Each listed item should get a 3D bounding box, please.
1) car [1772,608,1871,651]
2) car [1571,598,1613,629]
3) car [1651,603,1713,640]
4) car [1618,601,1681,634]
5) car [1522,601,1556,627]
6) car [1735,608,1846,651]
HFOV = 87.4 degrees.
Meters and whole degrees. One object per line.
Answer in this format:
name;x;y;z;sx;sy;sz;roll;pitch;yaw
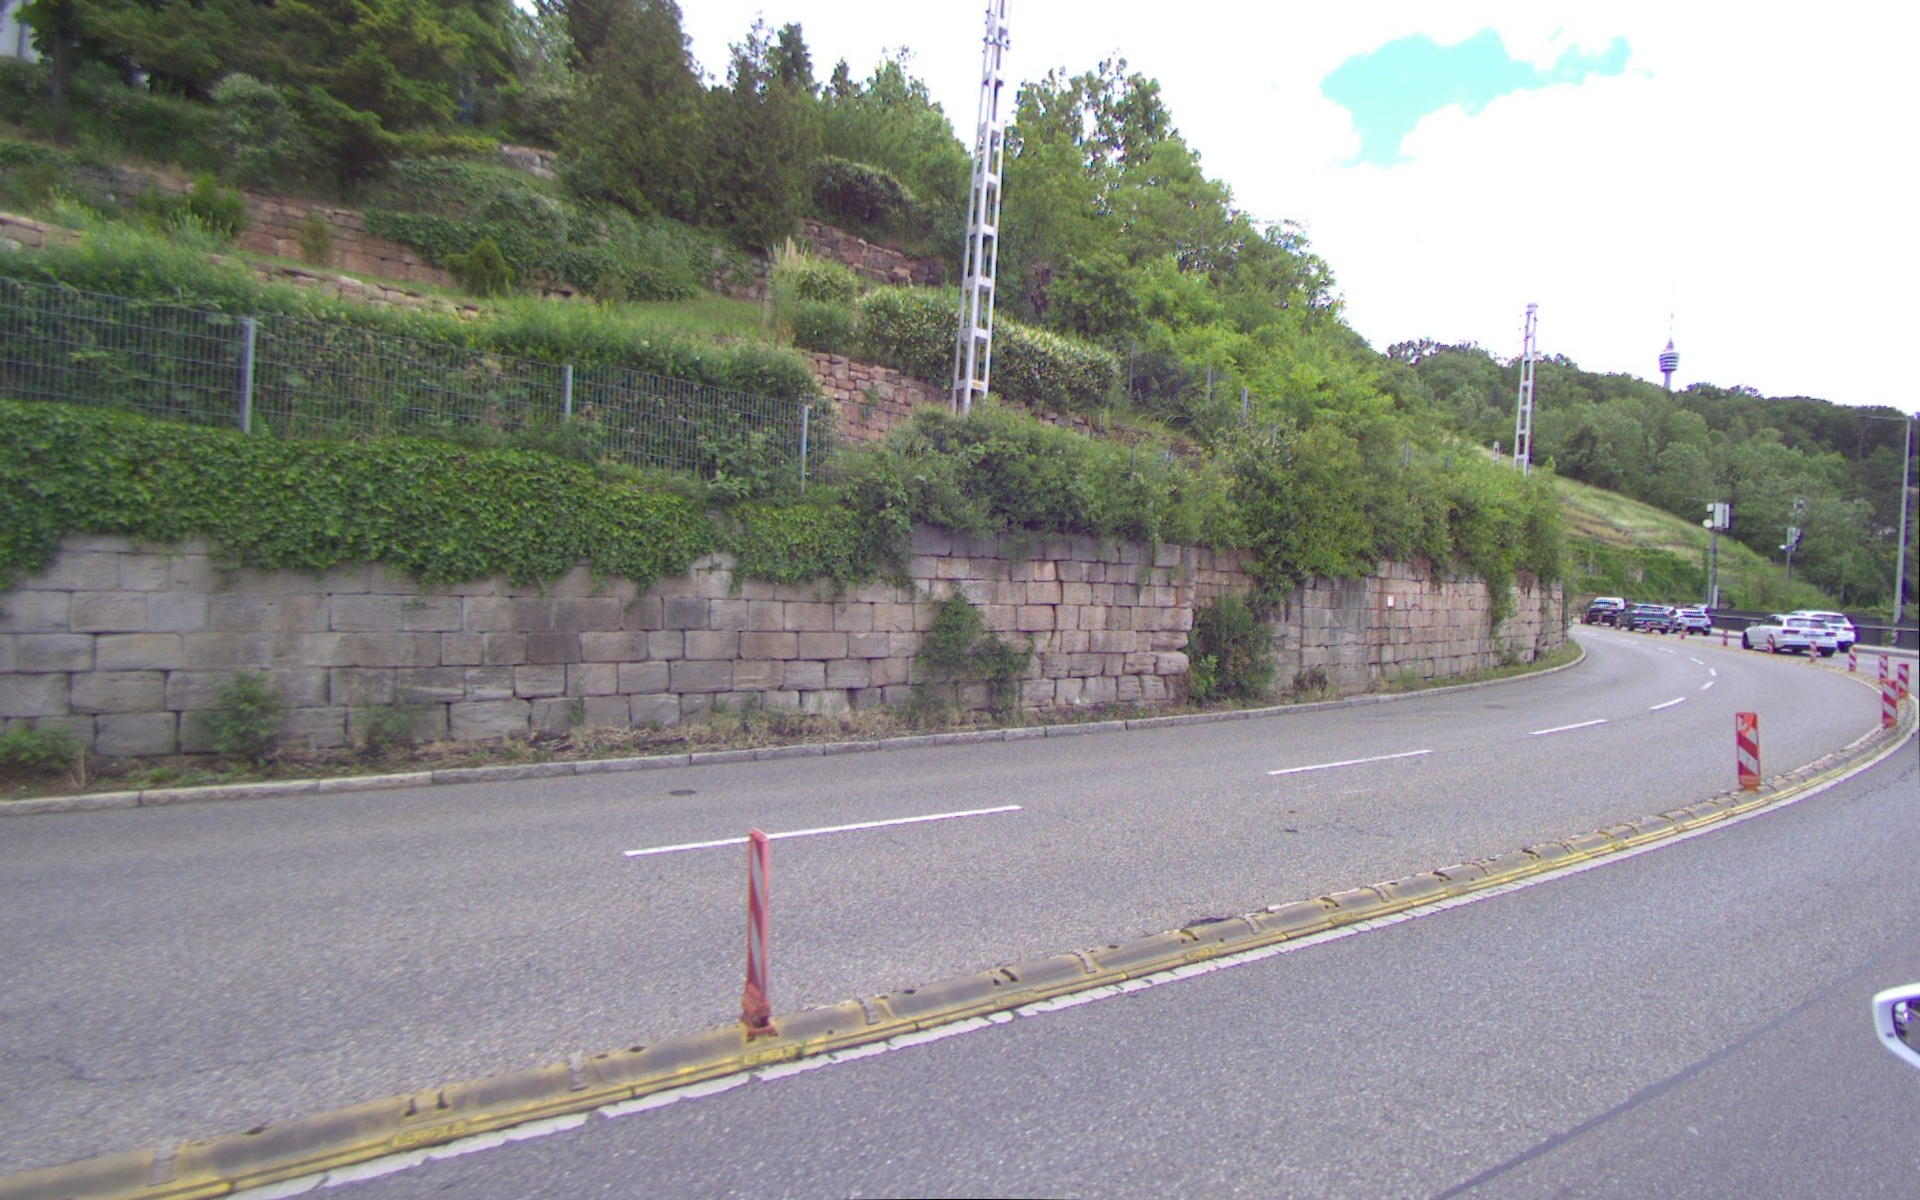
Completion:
car;36.637;1.306;42.860;1.961;1.740;4.113;0;-3;22
car;41.920;0.917;66.703;1.840;1.784;3.998;3;-2;25
car;41.809;1.241;58.244;1.961;2.040;3.999;1;-1;22
car;37.607;1.006;54.871;1.961;1.670;4.000;0;-3;21
car;40.882;0.929;70.942;1.675;1.570;3.996;2;3;25
car;31.687;1.147;38.504;1.961;1.523;4.666;0;-2;22
